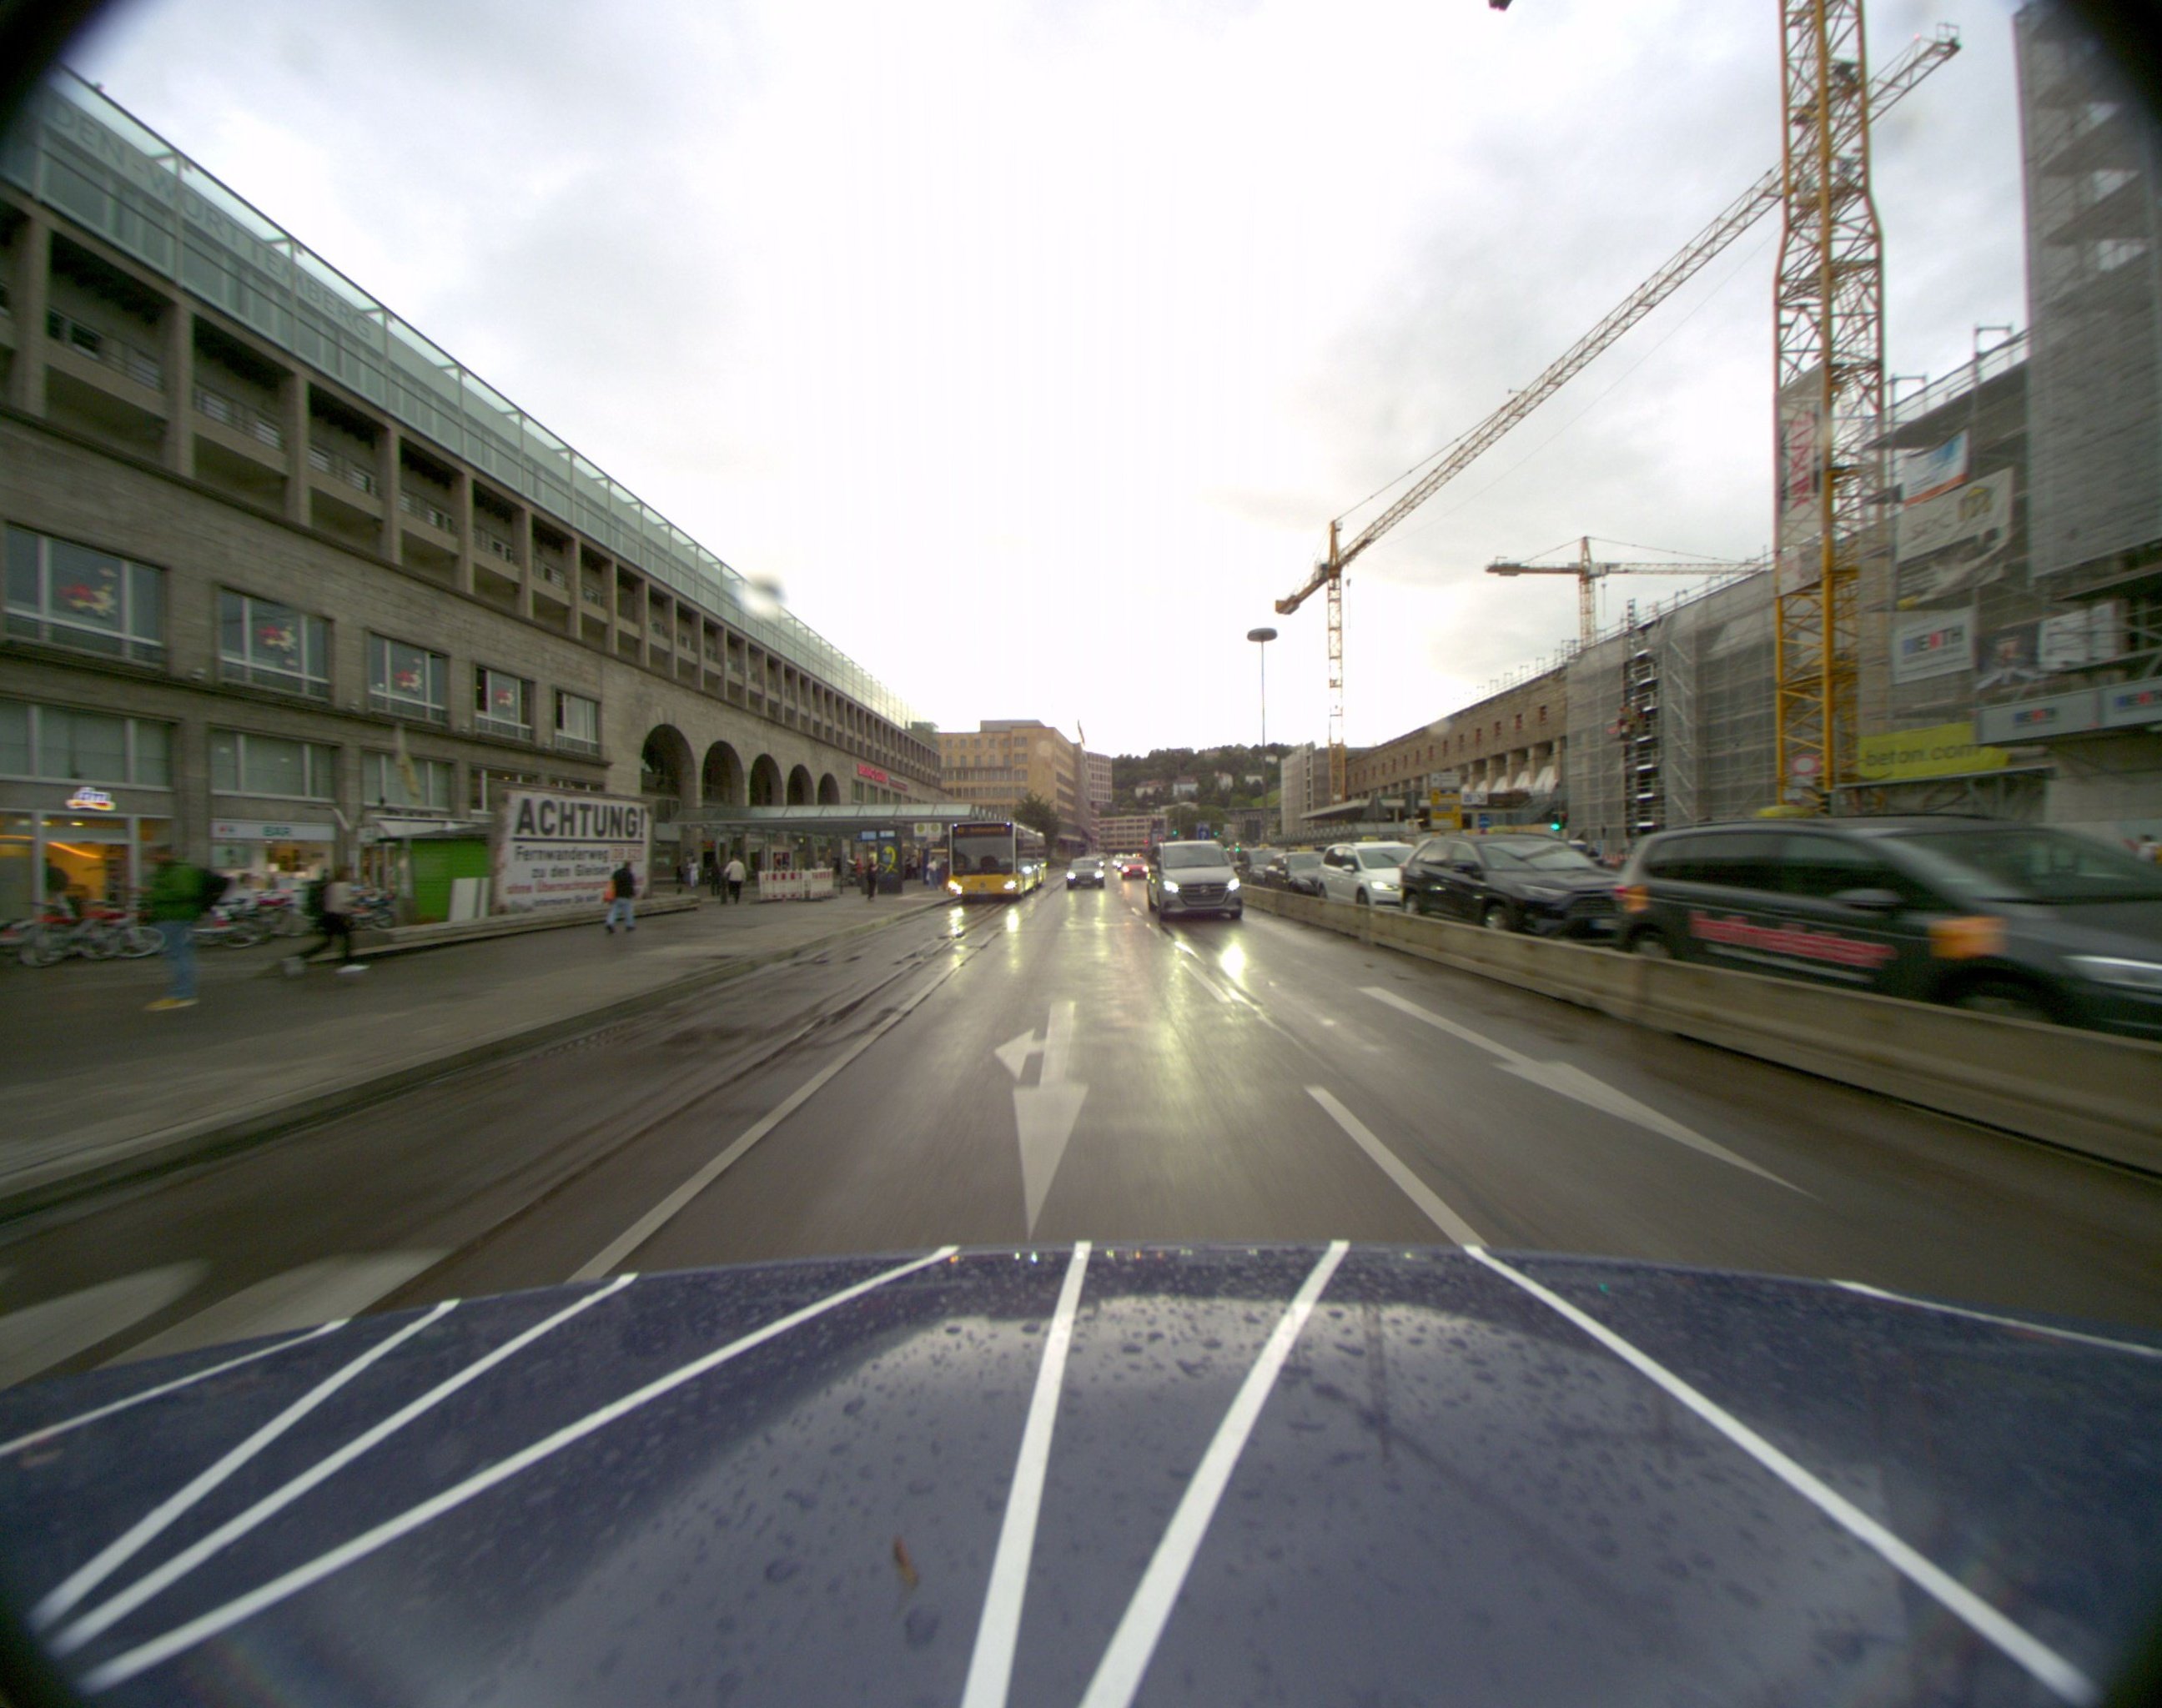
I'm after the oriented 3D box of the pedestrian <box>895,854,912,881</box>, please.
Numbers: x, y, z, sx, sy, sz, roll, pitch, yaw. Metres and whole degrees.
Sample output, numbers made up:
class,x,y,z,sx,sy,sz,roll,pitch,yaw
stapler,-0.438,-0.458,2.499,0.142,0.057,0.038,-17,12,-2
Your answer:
class,x,y,z,sx,sy,sz,roll,pitch,yaw
pedestrian,-11.240,0.866,48.223,0.750,1.685,0.902,-2,1,5

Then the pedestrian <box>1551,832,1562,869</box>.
class,x,y,z,sx,sy,sz,roll,pitch,yaw
pedestrian,23.763,-0.182,37.952,0.339,1.830,0.510,-1,1,18

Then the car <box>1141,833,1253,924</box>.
class,x,y,z,sx,sy,sz,roll,pitch,yaw
car,2.745,0.514,19.282,1.998,1.893,5.250,-3,0,0

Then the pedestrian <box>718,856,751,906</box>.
class,x,y,z,sx,sy,sz,roll,pitch,yaw
pedestrian,-12.615,0.961,27.701,0.733,1.782,0.757,-1,1,16

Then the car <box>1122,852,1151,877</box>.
class,x,y,z,sx,sy,sz,roll,pitch,yaw
car,3.578,0.646,49.530,1.709,1.485,3.670,-2,1,3

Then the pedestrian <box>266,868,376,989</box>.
class,x,y,z,sx,sy,sz,roll,pitch,yaw
pedestrian,-10.924,1.039,10.942,0.786,1.632,0.790,-1,1,16

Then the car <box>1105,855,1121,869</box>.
class,x,y,z,sx,sy,sz,roll,pitch,yaw
car,4.116,1.006,97.370,1.872,1.715,3.902,-2,1,2

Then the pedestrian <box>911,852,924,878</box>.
class,x,y,z,sx,sy,sz,roll,pitch,yaw
pedestrian,-11.794,0.794,54.795,0.608,1.849,0.625,-1,1,11

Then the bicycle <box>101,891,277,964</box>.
class,x,y,z,sx,sy,sz,roll,pitch,yaw
bicycle,-17.445,1.387,14.929,0.616,1.230,2.193,1,1,36

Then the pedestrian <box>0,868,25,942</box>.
class,x,y,z,sx,sy,sz,roll,pitch,yaw
pedestrian,-25.126,1.190,17.393,0.723,1.687,0.776,-2,1,1

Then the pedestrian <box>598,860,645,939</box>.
class,x,y,z,sx,sy,sz,roll,pitch,yaw
pedestrian,-9.696,0.946,16.032,0.652,1.609,0.502,-1,1,16

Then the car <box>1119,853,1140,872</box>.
class,x,y,z,sx,sy,sz,roll,pitch,yaw
car,4.857,0.840,76.469,1.872,1.747,3.902,-2,1,2

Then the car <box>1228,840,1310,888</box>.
class,x,y,z,sx,sy,sz,roll,pitch,yaw
car,6.987,0.328,28.724,1.998,1.644,4.641,-1,1,1

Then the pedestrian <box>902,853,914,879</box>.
class,x,y,z,sx,sy,sz,roll,pitch,yaw
pedestrian,-12.530,0.885,55.013,0.596,1.863,0.592,-1,1,35

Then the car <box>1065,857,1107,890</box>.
class,x,y,z,sx,sy,sz,roll,pitch,yaw
car,0.328,0.940,38.626,1.822,1.455,4.701,-3,0,4

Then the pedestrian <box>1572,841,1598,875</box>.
class,x,y,z,sx,sy,sz,roll,pitch,yaw
pedestrian,27.033,0.211,40.764,0.804,1.830,0.851,-2,1,6

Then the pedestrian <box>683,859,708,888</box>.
class,x,y,z,sx,sy,sz,roll,pitch,yaw
pedestrian,-22.116,1.107,43.553,0.786,1.580,0.994,0,1,38

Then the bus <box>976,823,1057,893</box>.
class,x,y,z,sx,sy,sz,roll,pitch,yaw
bus,-3.225,0.116,40.948,3.149,3.229,9.135,-2,1,2

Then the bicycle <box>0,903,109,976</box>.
class,x,y,z,sx,sy,sz,roll,pitch,yaw
bicycle,-18.480,1.460,12.997,2.093,1.133,0.888,0,1,-24

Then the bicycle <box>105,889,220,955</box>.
class,x,y,z,sx,sy,sz,roll,pitch,yaw
bicycle,-18.822,1.373,15.572,1.992,1.230,0.618,1,1,11

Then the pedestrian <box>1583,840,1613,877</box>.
class,x,y,z,sx,sy,sz,roll,pitch,yaw
pedestrian,26.161,0.200,38.449,0.841,1.830,1.058,-2,1,6

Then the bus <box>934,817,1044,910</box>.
class,x,y,z,sx,sy,sz,roll,pitch,yaw
bus,-3.505,0.281,31.782,3.121,3.186,9.241,-2,1,1

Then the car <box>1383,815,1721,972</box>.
class,x,y,z,sx,sy,sz,roll,pitch,yaw
car,6.391,0.436,11.165,1.998,1.776,4.847,-1,1,1

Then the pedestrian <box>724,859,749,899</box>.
class,x,y,z,sx,sy,sz,roll,pitch,yaw
pedestrian,-16.126,1.154,35.547,0.994,1.782,0.787,-1,1,-27

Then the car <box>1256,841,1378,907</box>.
class,x,y,z,sx,sy,sz,roll,pitch,yaw
car,6.784,0.509,22.480,2.054,1.701,5.054,-1,1,0

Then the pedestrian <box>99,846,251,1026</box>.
class,x,y,z,sx,sy,sz,roll,pitch,yaw
pedestrian,-10.188,0.878,8.582,0.708,1.921,0.788,-1,1,-8

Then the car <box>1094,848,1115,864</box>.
class,x,y,z,sx,sy,sz,roll,pitch,yaw
car,2.401,0.215,77.616,1.998,1.549,3.909,-1,1,4

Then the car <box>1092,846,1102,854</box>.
class,x,y,z,sx,sy,sz,roll,pitch,yaw
car,3.577,-0.903,167.688,1.998,1.873,4.997,-1,1,4

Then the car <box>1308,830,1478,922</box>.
class,x,y,z,sx,sy,sz,roll,pitch,yaw
car,6.802,0.414,17.166,1.999,1.776,4.453,-1,1,0

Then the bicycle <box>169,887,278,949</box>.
class,x,y,z,sx,sy,sz,roll,pitch,yaw
bicycle,-18.259,1.341,16.181,1.992,1.230,0.618,1,1,12

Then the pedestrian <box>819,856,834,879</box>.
class,x,y,z,sx,sy,sz,roll,pitch,yaw
pedestrian,-18.112,0.947,54.061,0.795,1.609,0.870,-1,1,-9

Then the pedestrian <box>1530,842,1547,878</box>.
class,x,y,z,sx,sy,sz,roll,pitch,yaw
pedestrian,23.330,0.312,38.785,0.702,1.830,0.879,-1,1,31

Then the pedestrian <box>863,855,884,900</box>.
class,x,y,z,sx,sy,sz,roll,pitch,yaw
pedestrian,-7.564,0.861,27.715,0.595,1.609,0.511,-3,1,-9

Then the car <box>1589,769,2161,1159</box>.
class,x,y,z,sx,sy,sz,roll,pitch,yaw
car,6.104,0.502,5.607,1.718,1.881,4.610,-1,1,1

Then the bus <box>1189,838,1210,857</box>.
class,x,y,z,sx,sy,sz,roll,pitch,yaw
bus,24.275,-1.386,156.638,2.916,3.557,19.082,0,1,5
